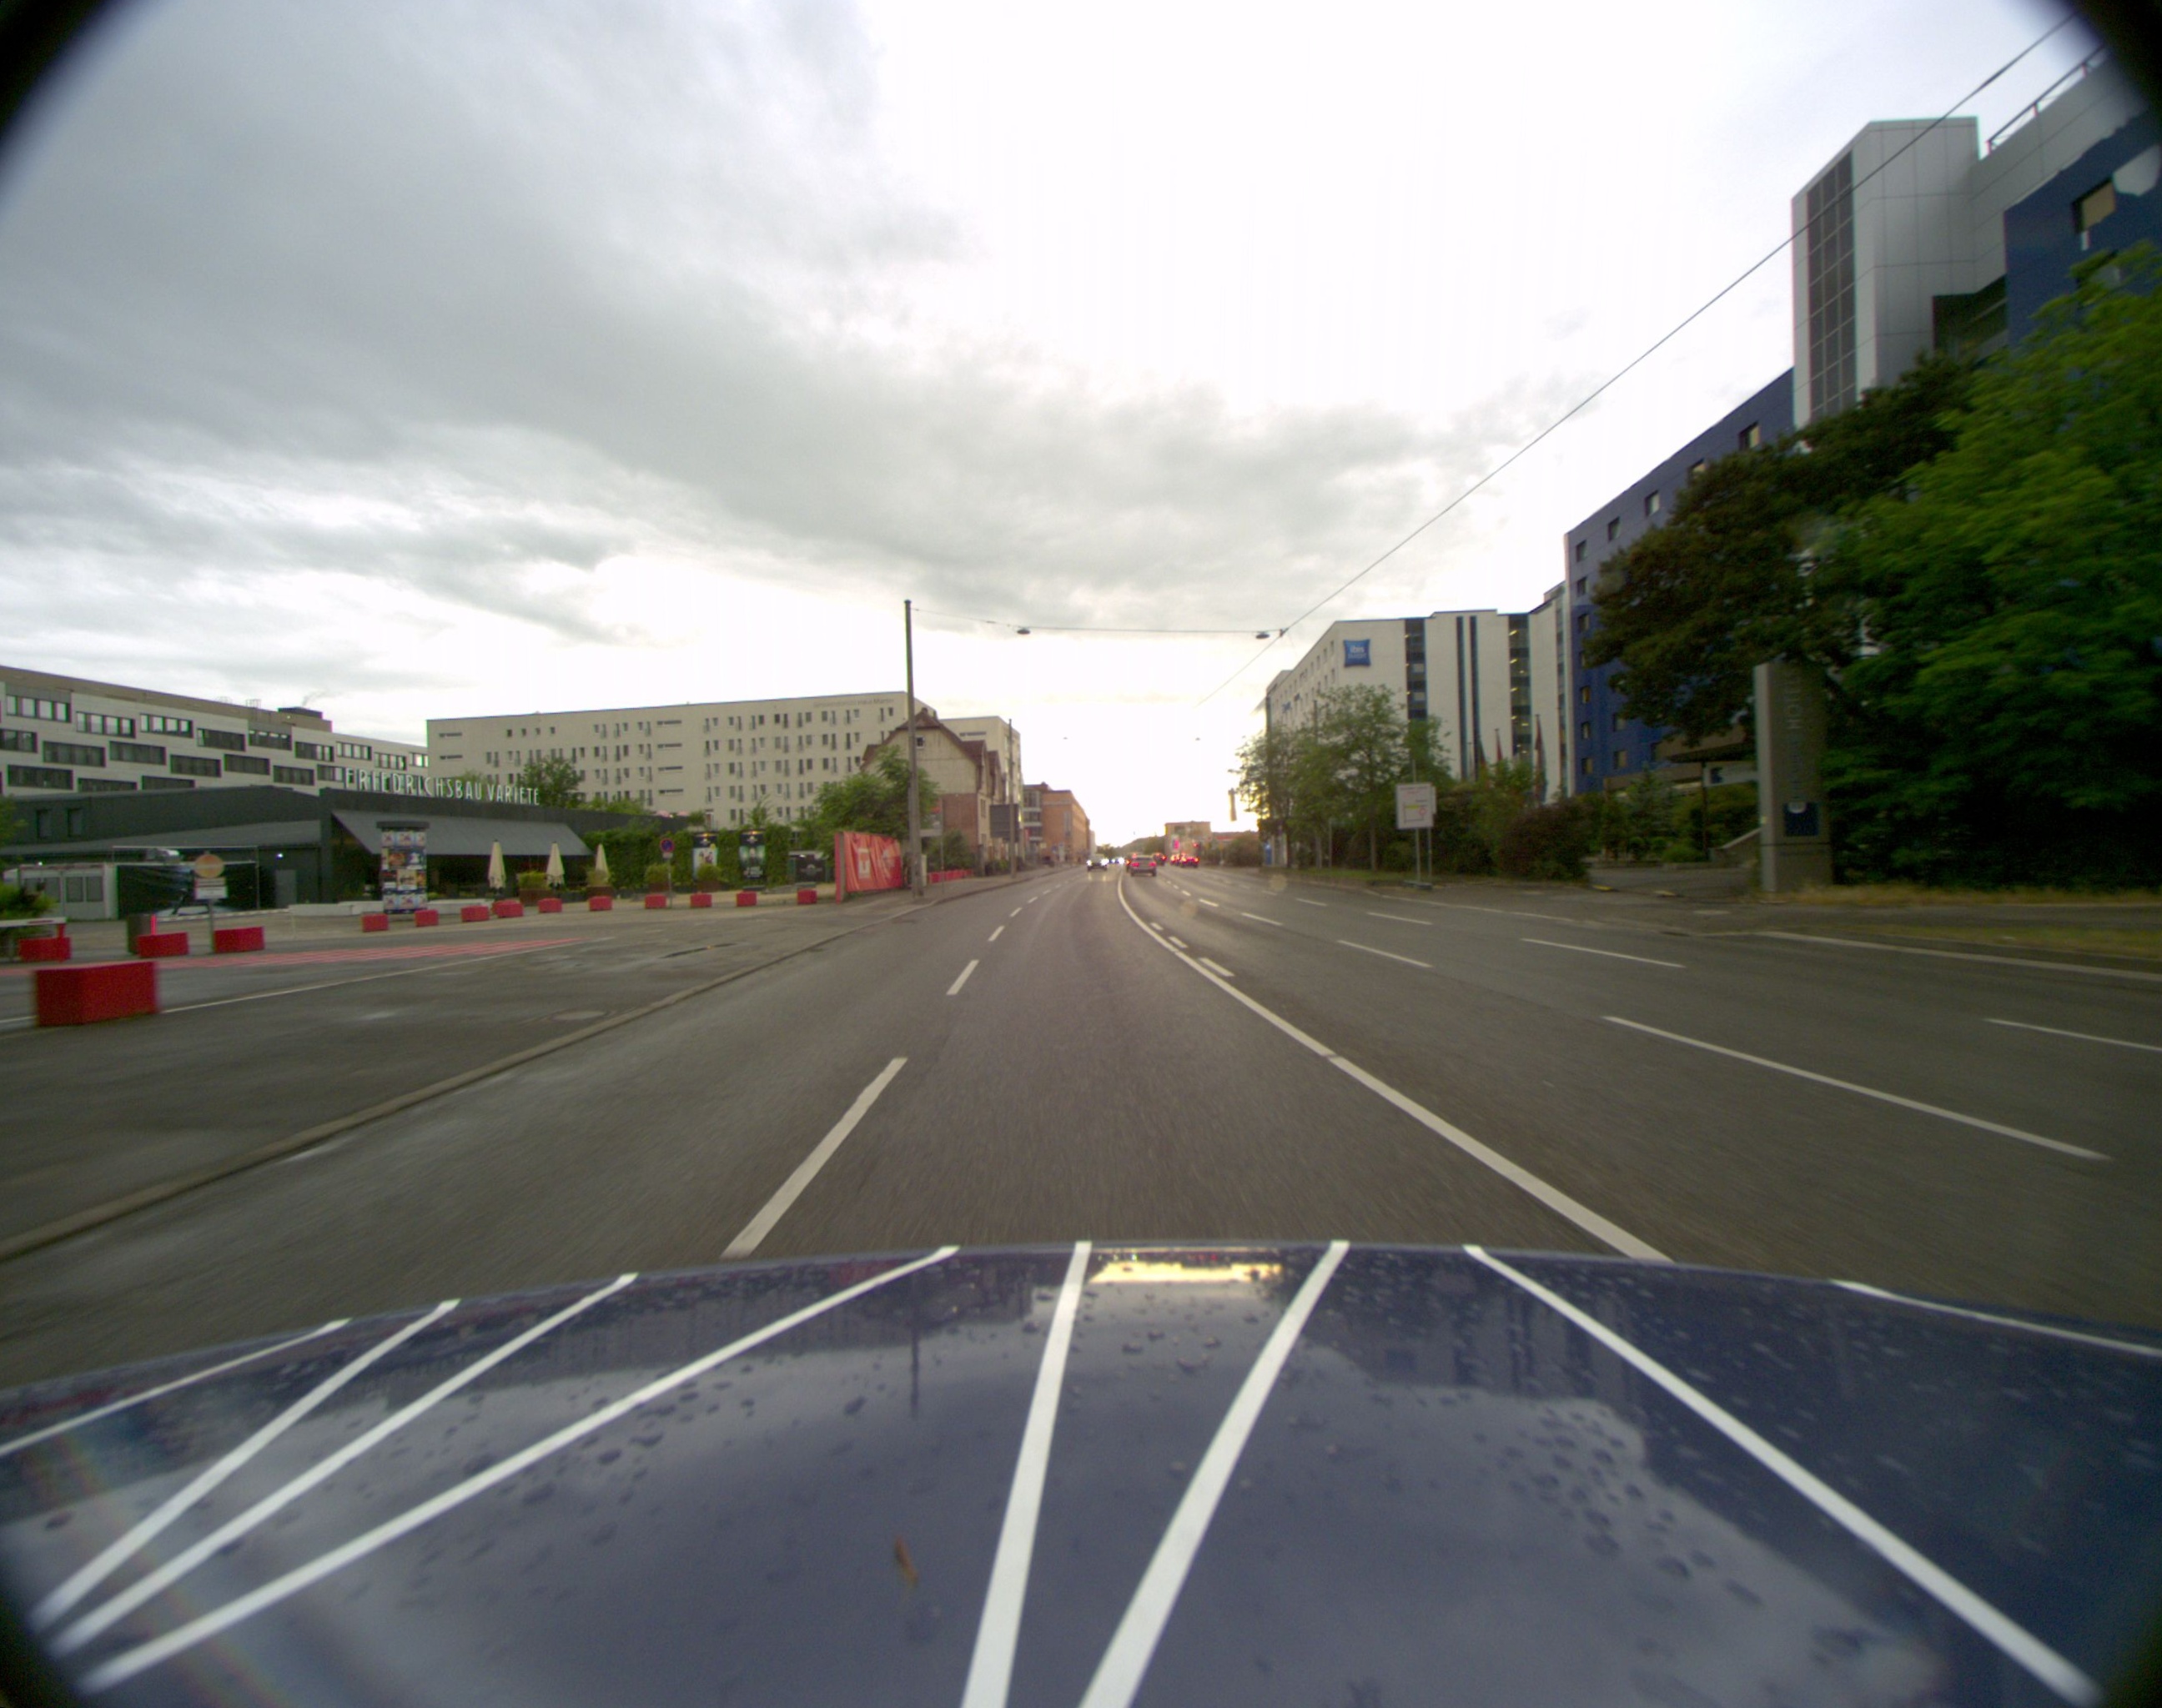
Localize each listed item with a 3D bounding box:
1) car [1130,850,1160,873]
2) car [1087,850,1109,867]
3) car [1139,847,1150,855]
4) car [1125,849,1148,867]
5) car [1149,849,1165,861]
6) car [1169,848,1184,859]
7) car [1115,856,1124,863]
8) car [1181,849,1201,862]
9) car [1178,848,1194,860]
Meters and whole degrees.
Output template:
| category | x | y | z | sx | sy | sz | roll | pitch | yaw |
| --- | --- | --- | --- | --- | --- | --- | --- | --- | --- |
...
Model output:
| category | x | y | z | sx | sy | sz | roll | pitch | yaw |
| --- | --- | --- | --- | --- | --- | --- | --- | --- | --- |
| car | 4.562 | 0.515 | 54.620 | 1.998 | 1.543 | 4.001 | -2 | 0 | 4 |
| car | 1.802 | 0.412 | 78.278 | 1.998 | 1.656 | 5.425 | -2 | 0 | 3 |
| car | 12.338 | -0.641 | 147.792 | 1.998 | 1.543 | 4.001 | -2 | 0 | 4 |
| car | 5.088 | 0.334 | 69.734 | 1.998 | 1.543 | 4.001 | -2 | 0 | 4 |
| car | 10.330 | 0.168 | 103.193 | 1.998 | 1.543 | 4.001 | -2 | 0 | 4 |
| car | 14.099 | -0.055 | 112.037 | 1.766 | 1.559 | 4.000 | 0 | 0 | 2 |
| car | 8.236 | 1.118 | 162.105 | 1.798 | 1.501 | 4.001 | -1 | 0 | 4 |
| car | 12.633 | 0.164 | 87.598 | 1.767 | 1.559 | 4.000 | 0 | 0 | 1 |
| car | 13.892 | -0.007 | 100.620 | 1.766 | 1.559 | 4.000 | 0 | 0 | 2 |
